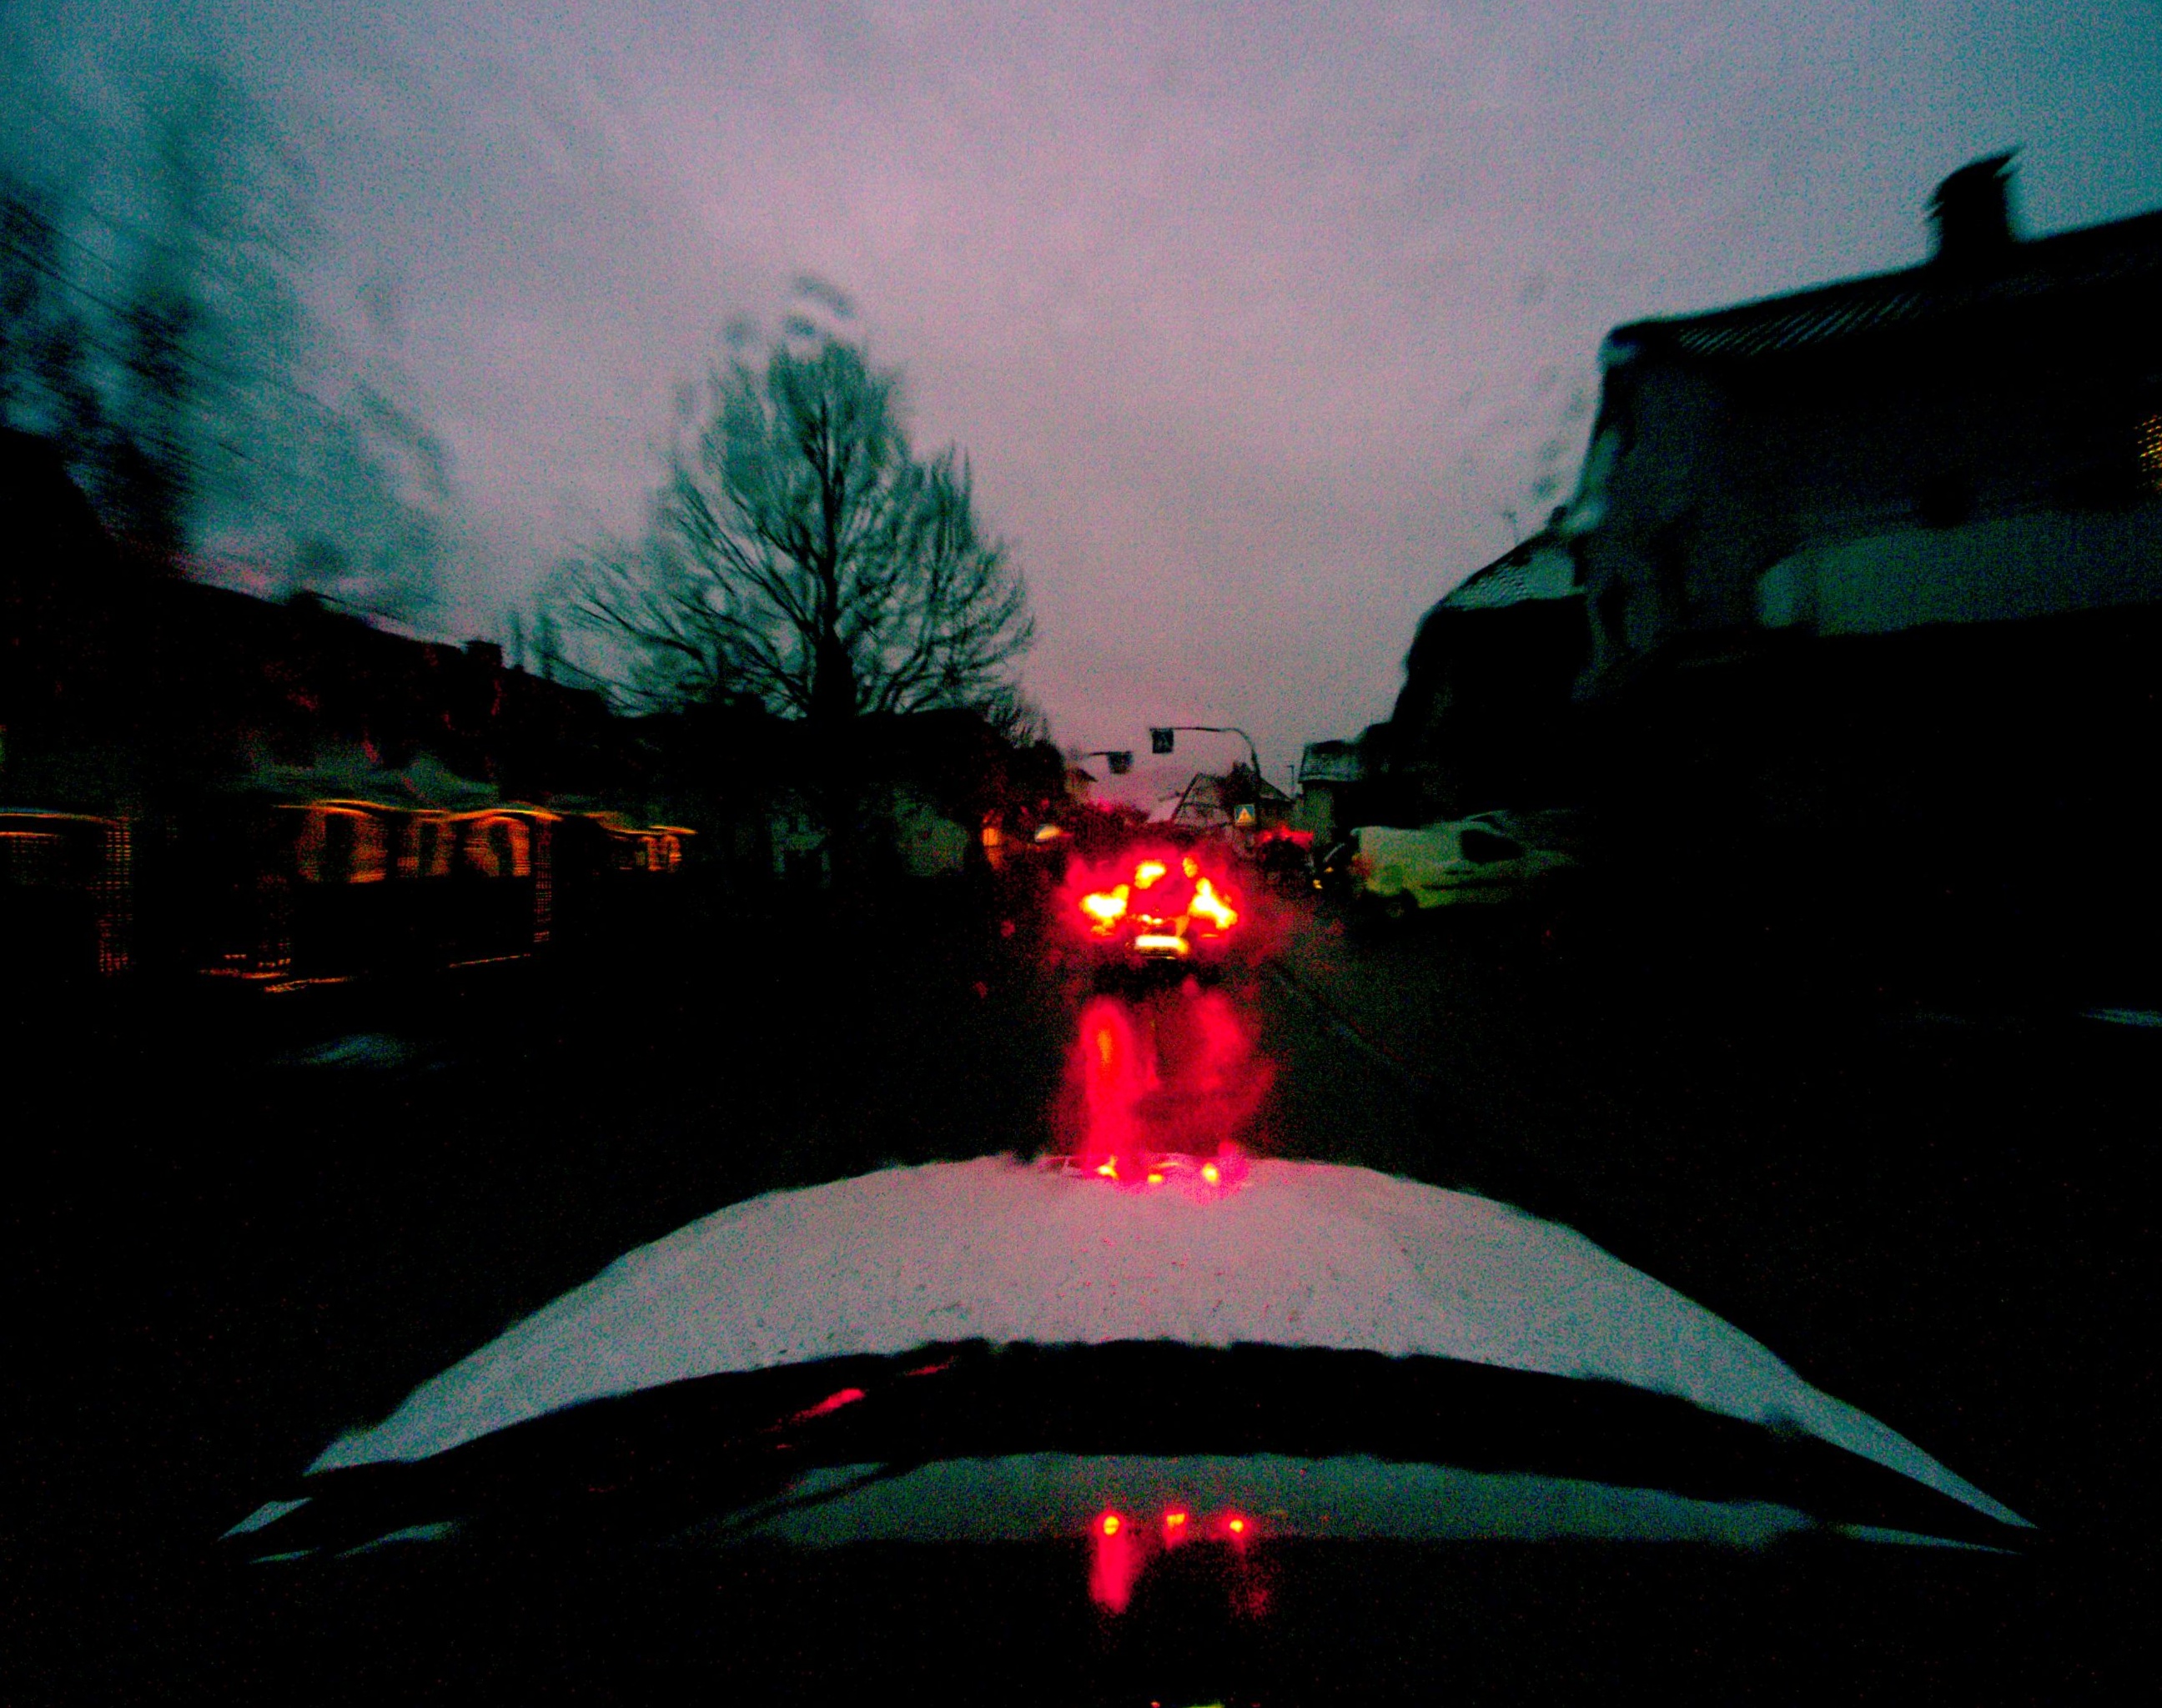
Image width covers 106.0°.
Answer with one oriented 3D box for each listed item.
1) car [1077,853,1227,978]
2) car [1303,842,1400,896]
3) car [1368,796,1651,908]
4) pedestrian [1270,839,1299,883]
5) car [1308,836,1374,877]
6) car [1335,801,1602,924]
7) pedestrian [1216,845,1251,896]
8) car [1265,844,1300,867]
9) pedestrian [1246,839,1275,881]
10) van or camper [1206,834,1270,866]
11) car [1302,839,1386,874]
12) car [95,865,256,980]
[{"bbox_3d":[0.975,0.743,11.896,1.788,1.476,4.003,-1,0,3],"label":"car"},{"bbox_3d":[8.470,0.461,25.644,2.742,1.474,1.433,-4,-1,16],"label":"car"},{"bbox_3d":[8.869,-0.012,17.377,4.944,1.889,1.945,-4,0,15],"label":"car"},{"bbox_3d":[8.281,0.279,33.186,0.840,1.733,0.977,-6,-1,23],"label":"pedestrian"},{"bbox_3d":[11.065,0.102,34.789,2.563,1.547,1.558,-4,0,15],"label":"car"},{"bbox_3d":[6.956,0.173,15.060,4.016,1.843,1.869,-4,-1,10],"label":"car"},{"bbox_3d":[5.531,0.599,29.477,0.872,1.735,0.961,-6,-1,23],"label":"pedestrian"},{"bbox_3d":[14.999,0.118,60.499,1.831,1.637,4.360,-1,0,23],"label":"car"},{"bbox_3d":[7.407,0.240,33.611,0.859,1.667,0.997,-6,-1,23],"label":"pedestrian"},{"bbox_3d":[16.983,-0.425,88.206,6.002,2.955,2.421,-6,-2,31],"label":"van or camper"},{"bbox_3d":[13.284,0.121,41.180,3.868,1.474,1.759,-4,-1,18],"label":"car"},{"bbox_3d":[-15.014,1.017,13.557,3.589,1.612,1.620,-1,0,42],"label":"car"}]
